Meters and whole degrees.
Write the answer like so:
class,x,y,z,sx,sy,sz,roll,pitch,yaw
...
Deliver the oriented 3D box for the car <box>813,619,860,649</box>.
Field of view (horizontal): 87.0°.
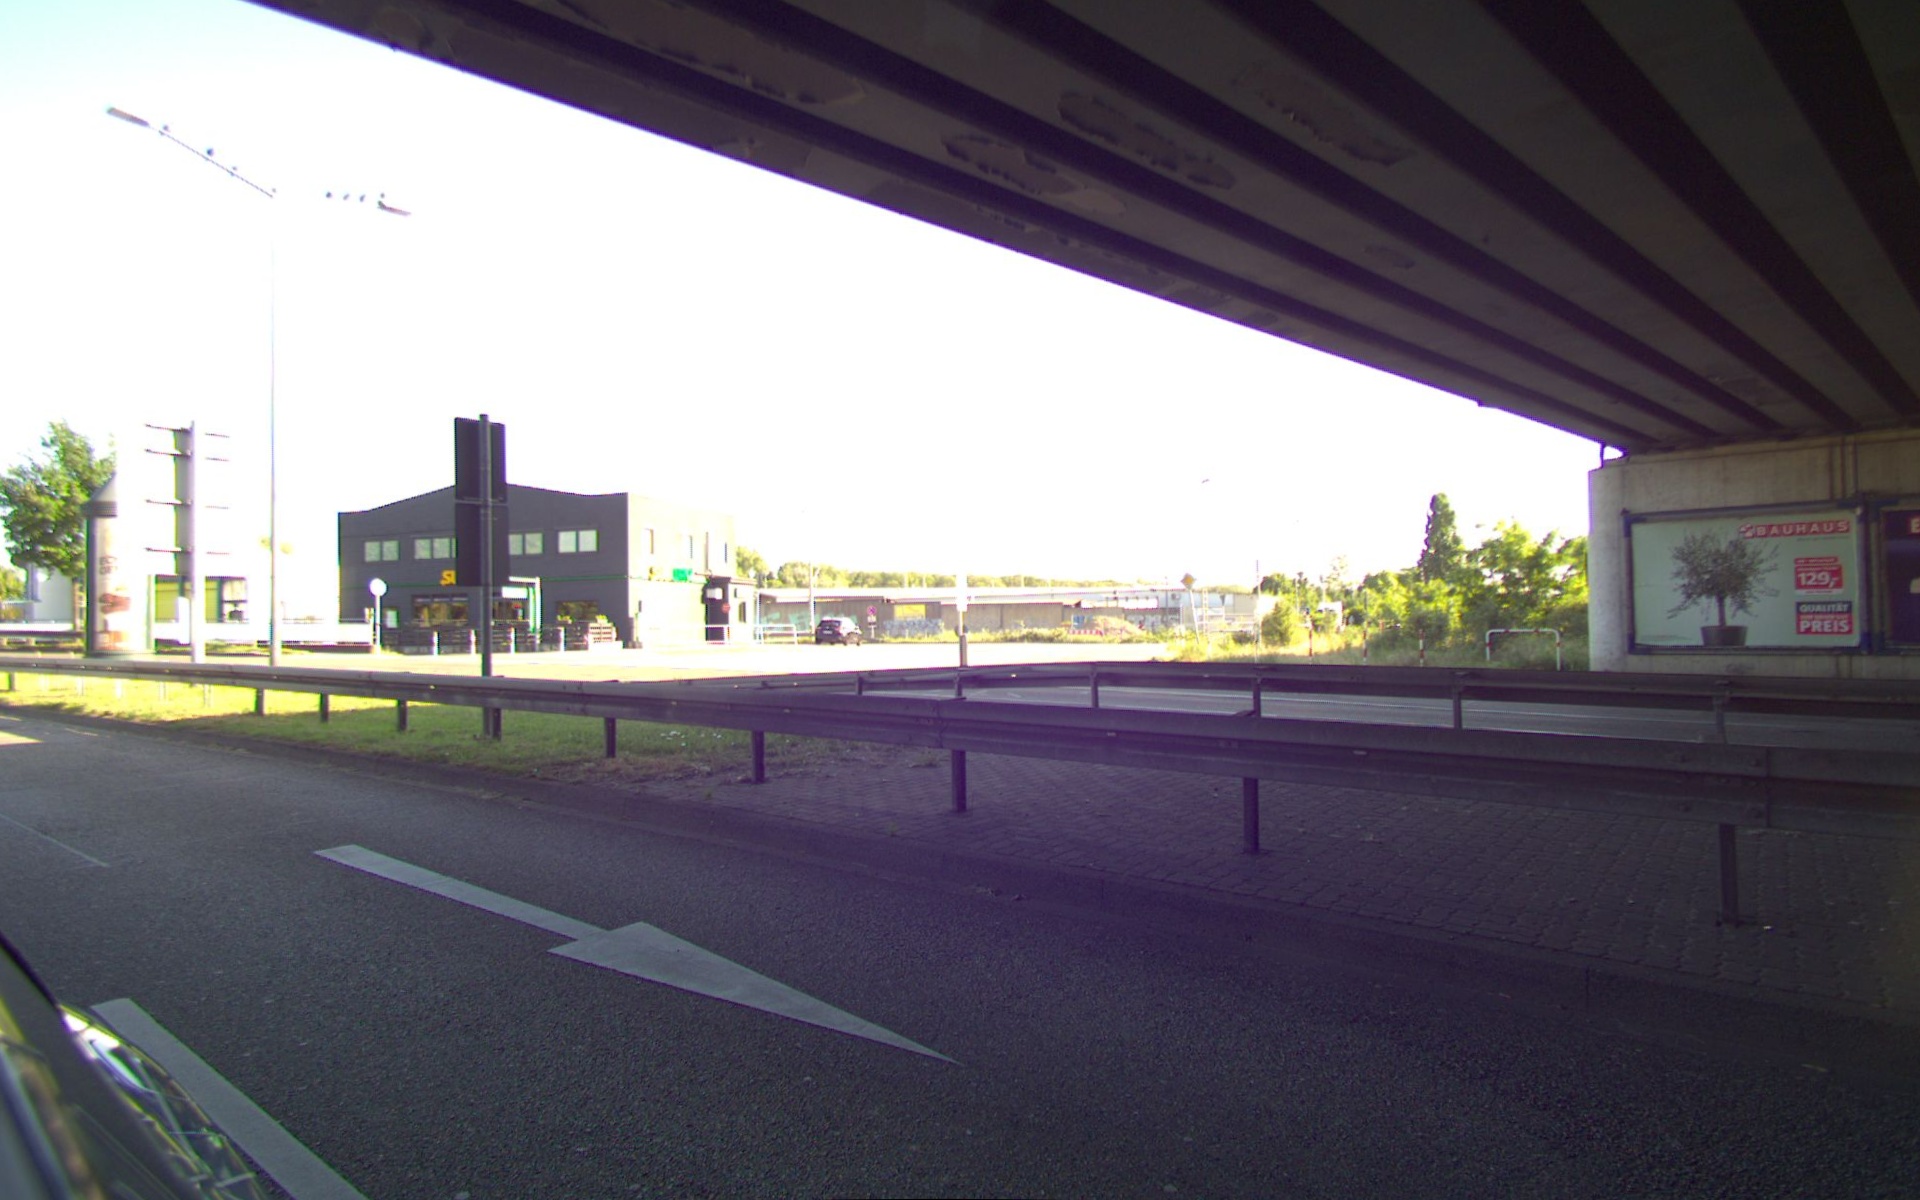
class,x,y,z,sx,sy,sz,roll,pitch,yaw
car,-6.668,1.823,54.982,1.858,1.453,3.996,-1,0,3
